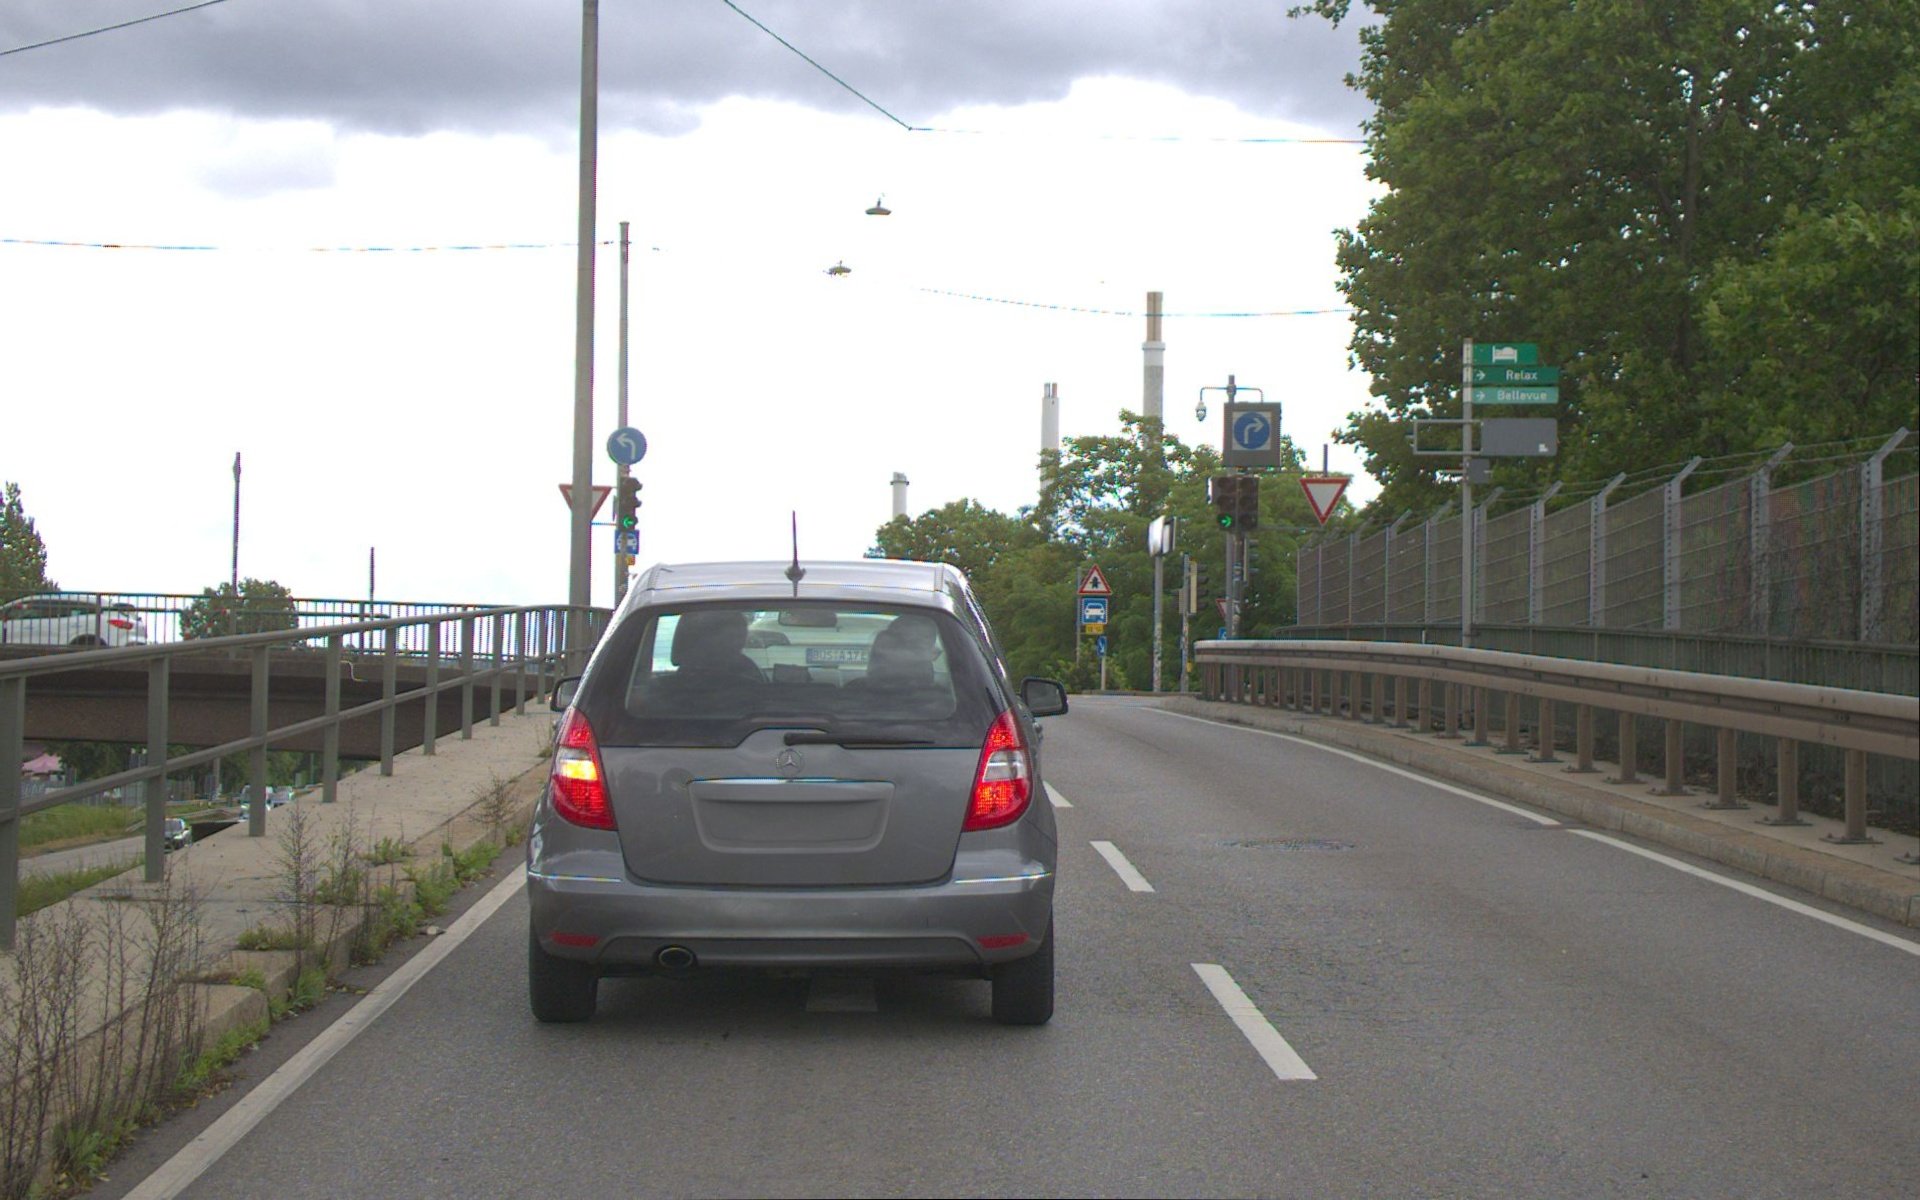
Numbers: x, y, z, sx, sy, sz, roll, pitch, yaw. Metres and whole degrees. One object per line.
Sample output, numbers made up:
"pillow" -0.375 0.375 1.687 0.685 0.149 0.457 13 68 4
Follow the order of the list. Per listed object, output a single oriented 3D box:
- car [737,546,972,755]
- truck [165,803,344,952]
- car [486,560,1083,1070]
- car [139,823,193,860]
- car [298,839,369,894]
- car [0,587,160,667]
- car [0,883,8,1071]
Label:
"car" -1.011 0.420 30.778 1.931 1.711 4.406 1 0 -4
"truck" -16.782 6.552 82.262 2.746 3.282 7.440 1 -3 -1
"car" -0.570 0.667 12.826 1.857 1.583 4.000 1 0 0
"car" -39.717 12.055 172.095 1.915 1.733 4.552 0 -3 -4
"car" -24.735 10.502 135.847 1.898 1.996 4.958 1 -3 -1
"car" -18.564 0.528 69.401 4.332 1.571 1.838 1 0 3
"car" -14.719 5.219 46.512 1.993 2.676 5.932 1 -4 -1
